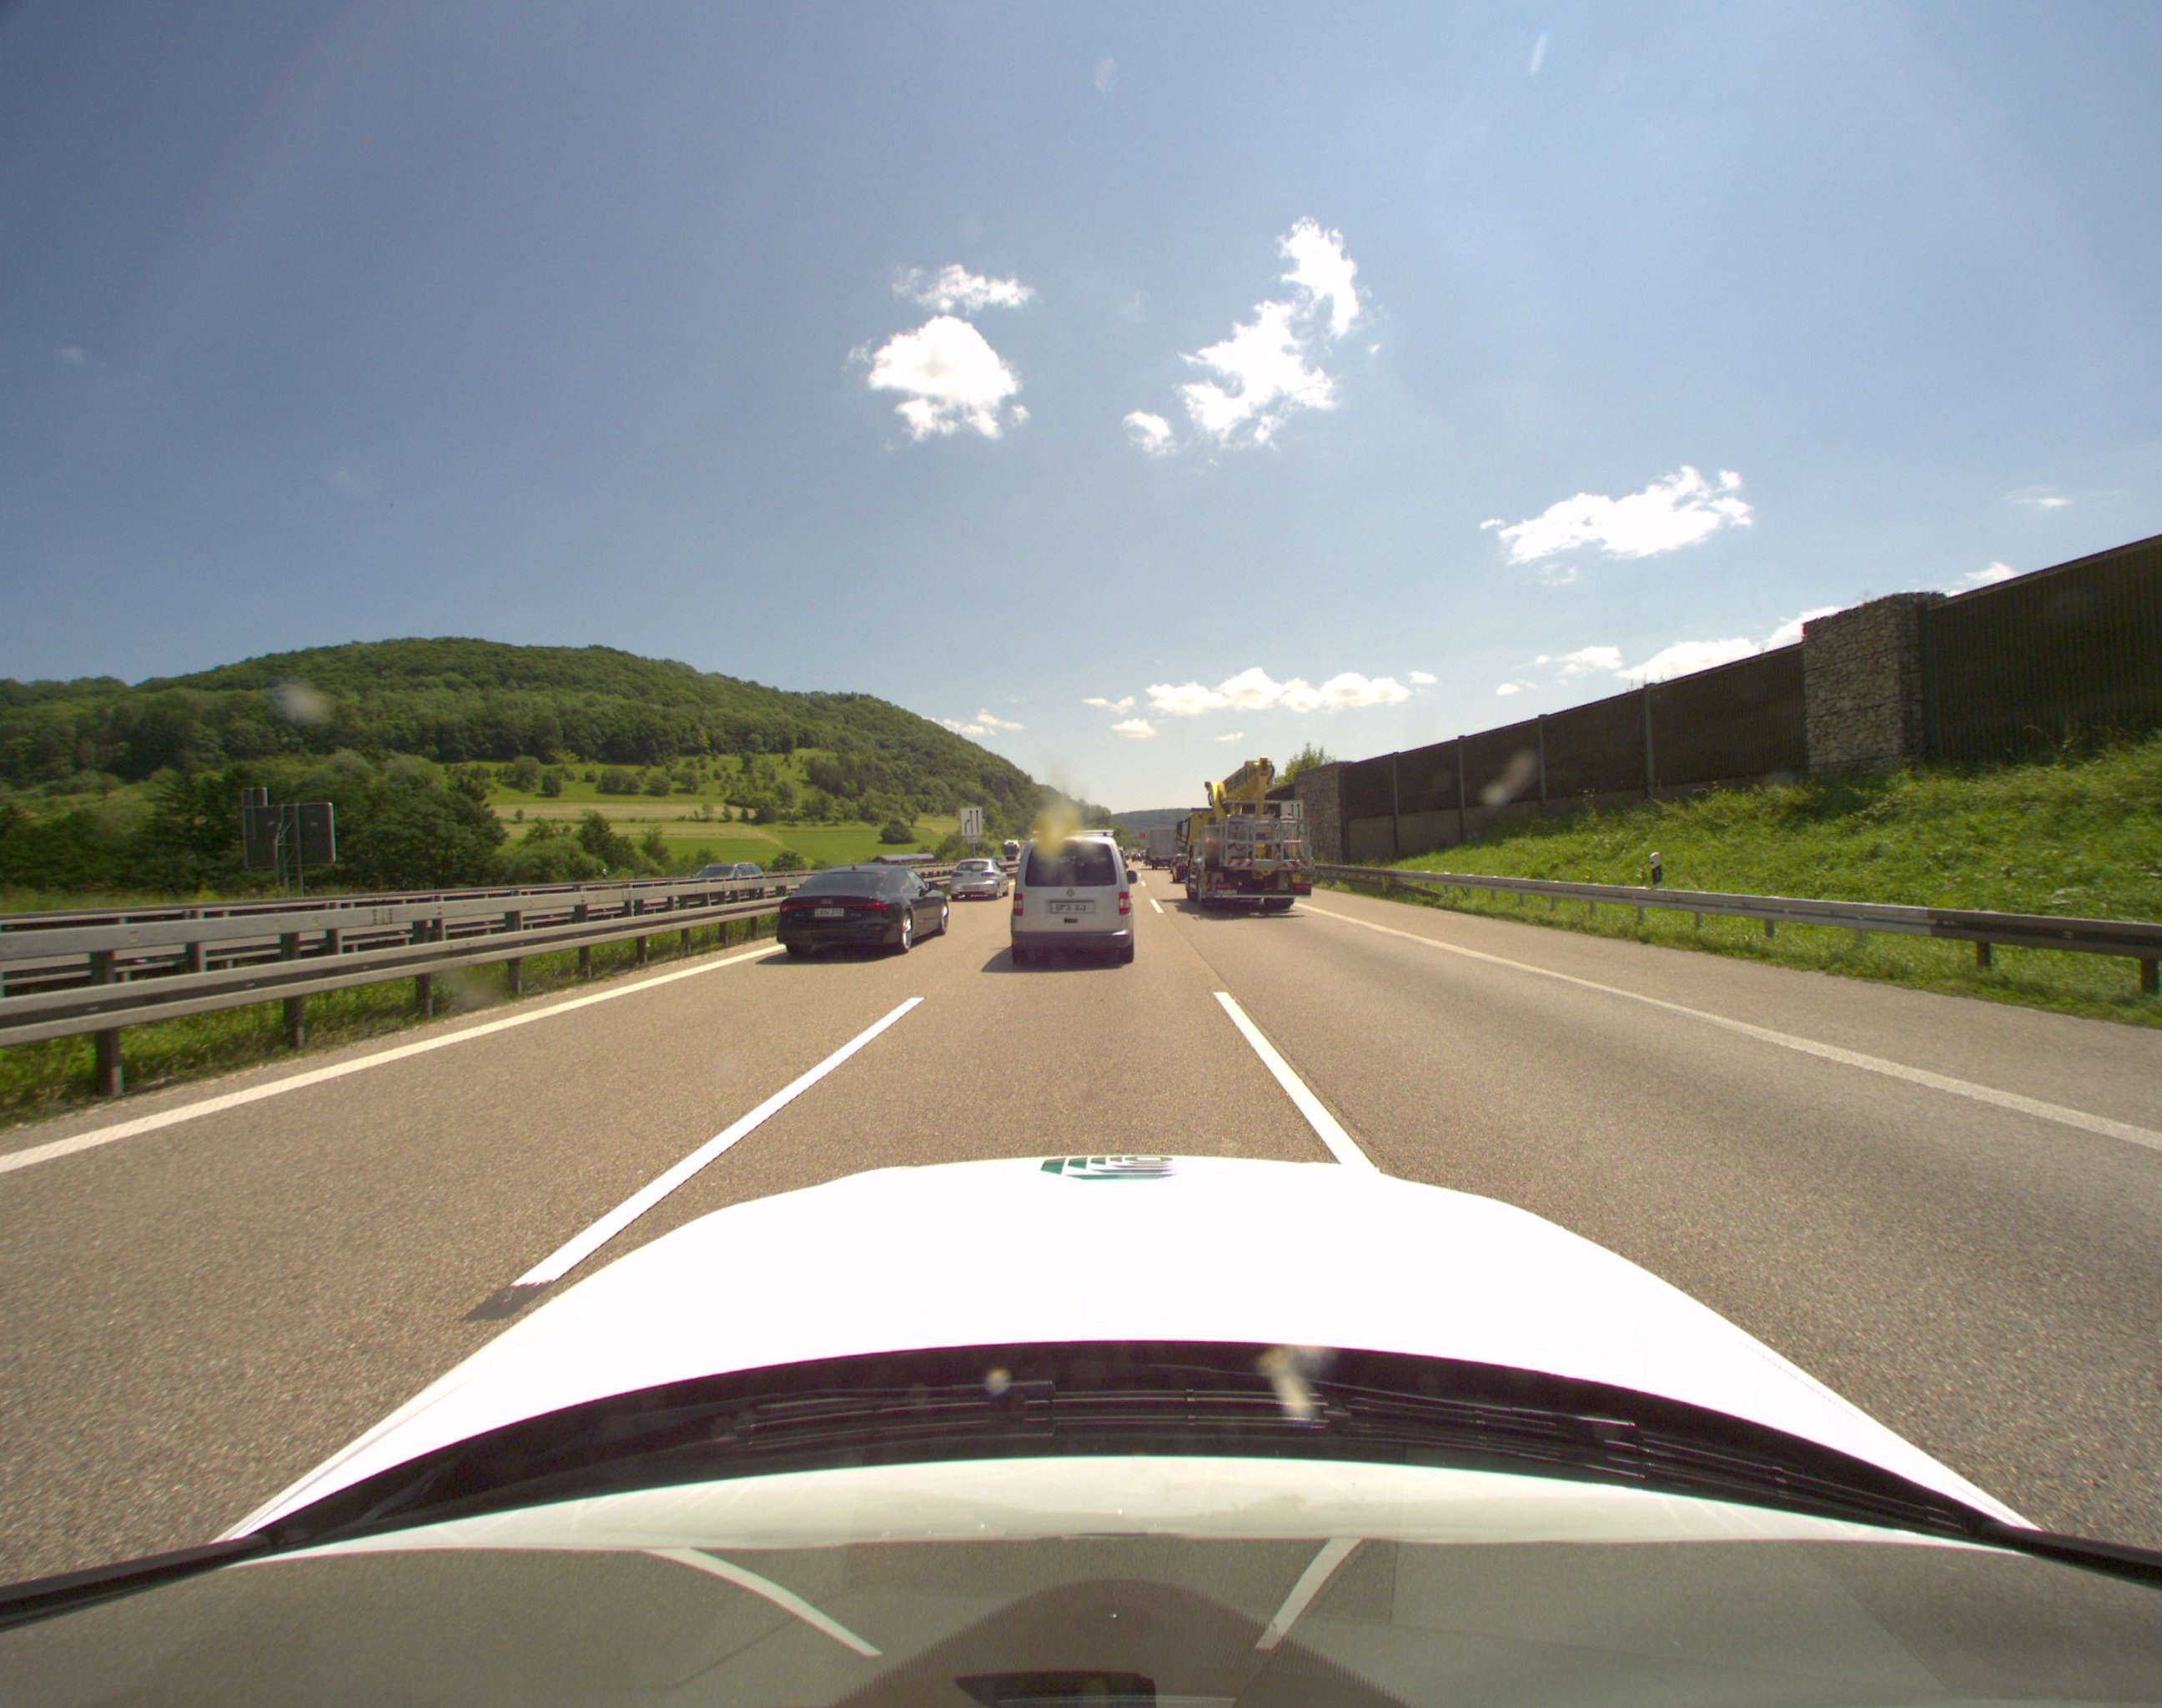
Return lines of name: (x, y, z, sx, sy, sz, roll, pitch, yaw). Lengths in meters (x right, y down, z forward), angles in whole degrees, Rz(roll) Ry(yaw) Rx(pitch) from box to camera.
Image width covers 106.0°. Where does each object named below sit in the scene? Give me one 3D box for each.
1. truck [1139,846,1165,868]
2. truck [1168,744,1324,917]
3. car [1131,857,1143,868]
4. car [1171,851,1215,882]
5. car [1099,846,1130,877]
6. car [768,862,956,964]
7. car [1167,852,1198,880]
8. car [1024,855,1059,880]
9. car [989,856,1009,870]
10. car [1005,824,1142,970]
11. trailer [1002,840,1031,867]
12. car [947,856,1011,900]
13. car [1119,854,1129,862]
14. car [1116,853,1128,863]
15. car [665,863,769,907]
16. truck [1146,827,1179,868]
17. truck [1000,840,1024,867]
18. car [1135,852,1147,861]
truck: (8.974, 0.354, 102.602, 2.374, 2.541, 5.960, -1, 0, 13)
truck: (4.303, -0.546, 23.263, 2.695, 3.942, 8.722, -1, 0, 1)
car: (9.459, 1.464, 138.659, 1.985, 1.749, 4.004, 0, -1, 3)
car: (5.700, 0.629, 41.869, 1.780, 1.458, 3.771, -1, 0, 1)
car: (2.253, 0.489, 56.121, 1.987, 1.975, 4.000, -1, 0, 1)
car: (-3.545, 0.873, 14.239, 1.794, 1.390, 4.970, -1, 0, 1)
car: (7.721, 0.870, 62.132, 1.986, 2.013, 4.002, -1, 0, 2)
car: (-2.437, 0.817, 50.761, 1.918, 1.499, 4.000, -1, 0, 1)
car: (-9.918, 1.064, 98.321, 1.842, 1.609, 4.080, -1, 0, 2)
car: (-0.071, 0.563, 12.683, 1.750, 1.868, 4.000, -1, 0, 1)
trailer: (-10.697, 0.003, 136.475, 2.842, 4.191, 13.627, 0, -1, 3)
car: (-3.577, 0.808, 29.121, 1.690, 1.445, 3.862, -1, 0, 1)
car: (9.124, 0.842, 171.474, 1.986, 1.805, 4.001, 0, -1, 2)
car: (7.605, 0.697, 150.789, 2.107, 1.828, 4.000, 0, -1, 0)
car: (-14.446, 1.187, 32.621, 1.986, 1.518, 4.523, -1, 0, 2)
truck: (7.906, -0.561, 79.872, 2.927, 3.823, 8.245, 0, -1, 4)
truck: (-11.088, -0.015, 130.595, 2.786, 4.232, 7.237, 0, -1, 3)
car: (11.827, 0.464, 160.067, 2.107, 1.828, 4.000, 0, -1, 0)
